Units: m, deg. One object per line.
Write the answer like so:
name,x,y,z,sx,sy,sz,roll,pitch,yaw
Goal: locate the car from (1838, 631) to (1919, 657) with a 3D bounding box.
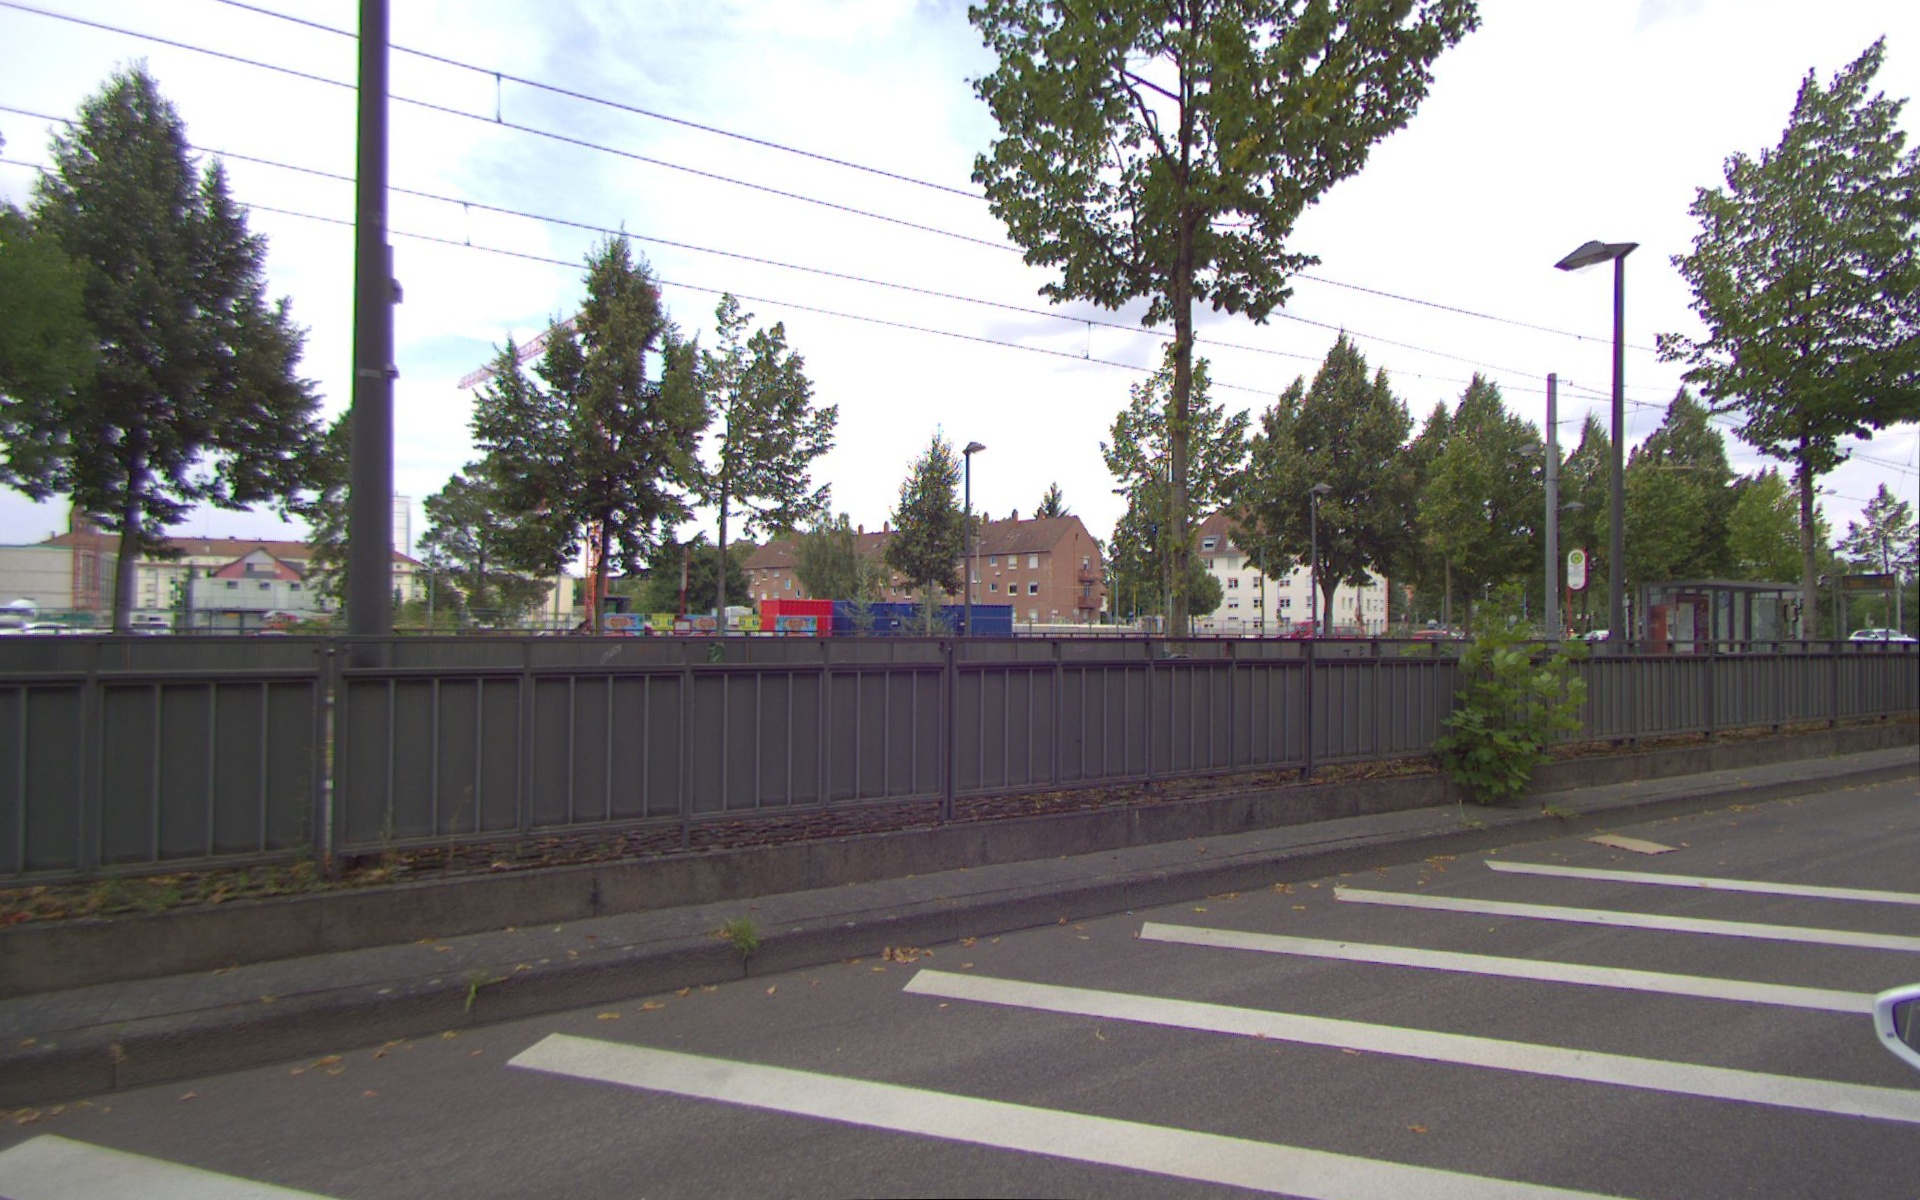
car,59.728,2.831,65.233,1.959,1.639,4.388,0,-2,6
